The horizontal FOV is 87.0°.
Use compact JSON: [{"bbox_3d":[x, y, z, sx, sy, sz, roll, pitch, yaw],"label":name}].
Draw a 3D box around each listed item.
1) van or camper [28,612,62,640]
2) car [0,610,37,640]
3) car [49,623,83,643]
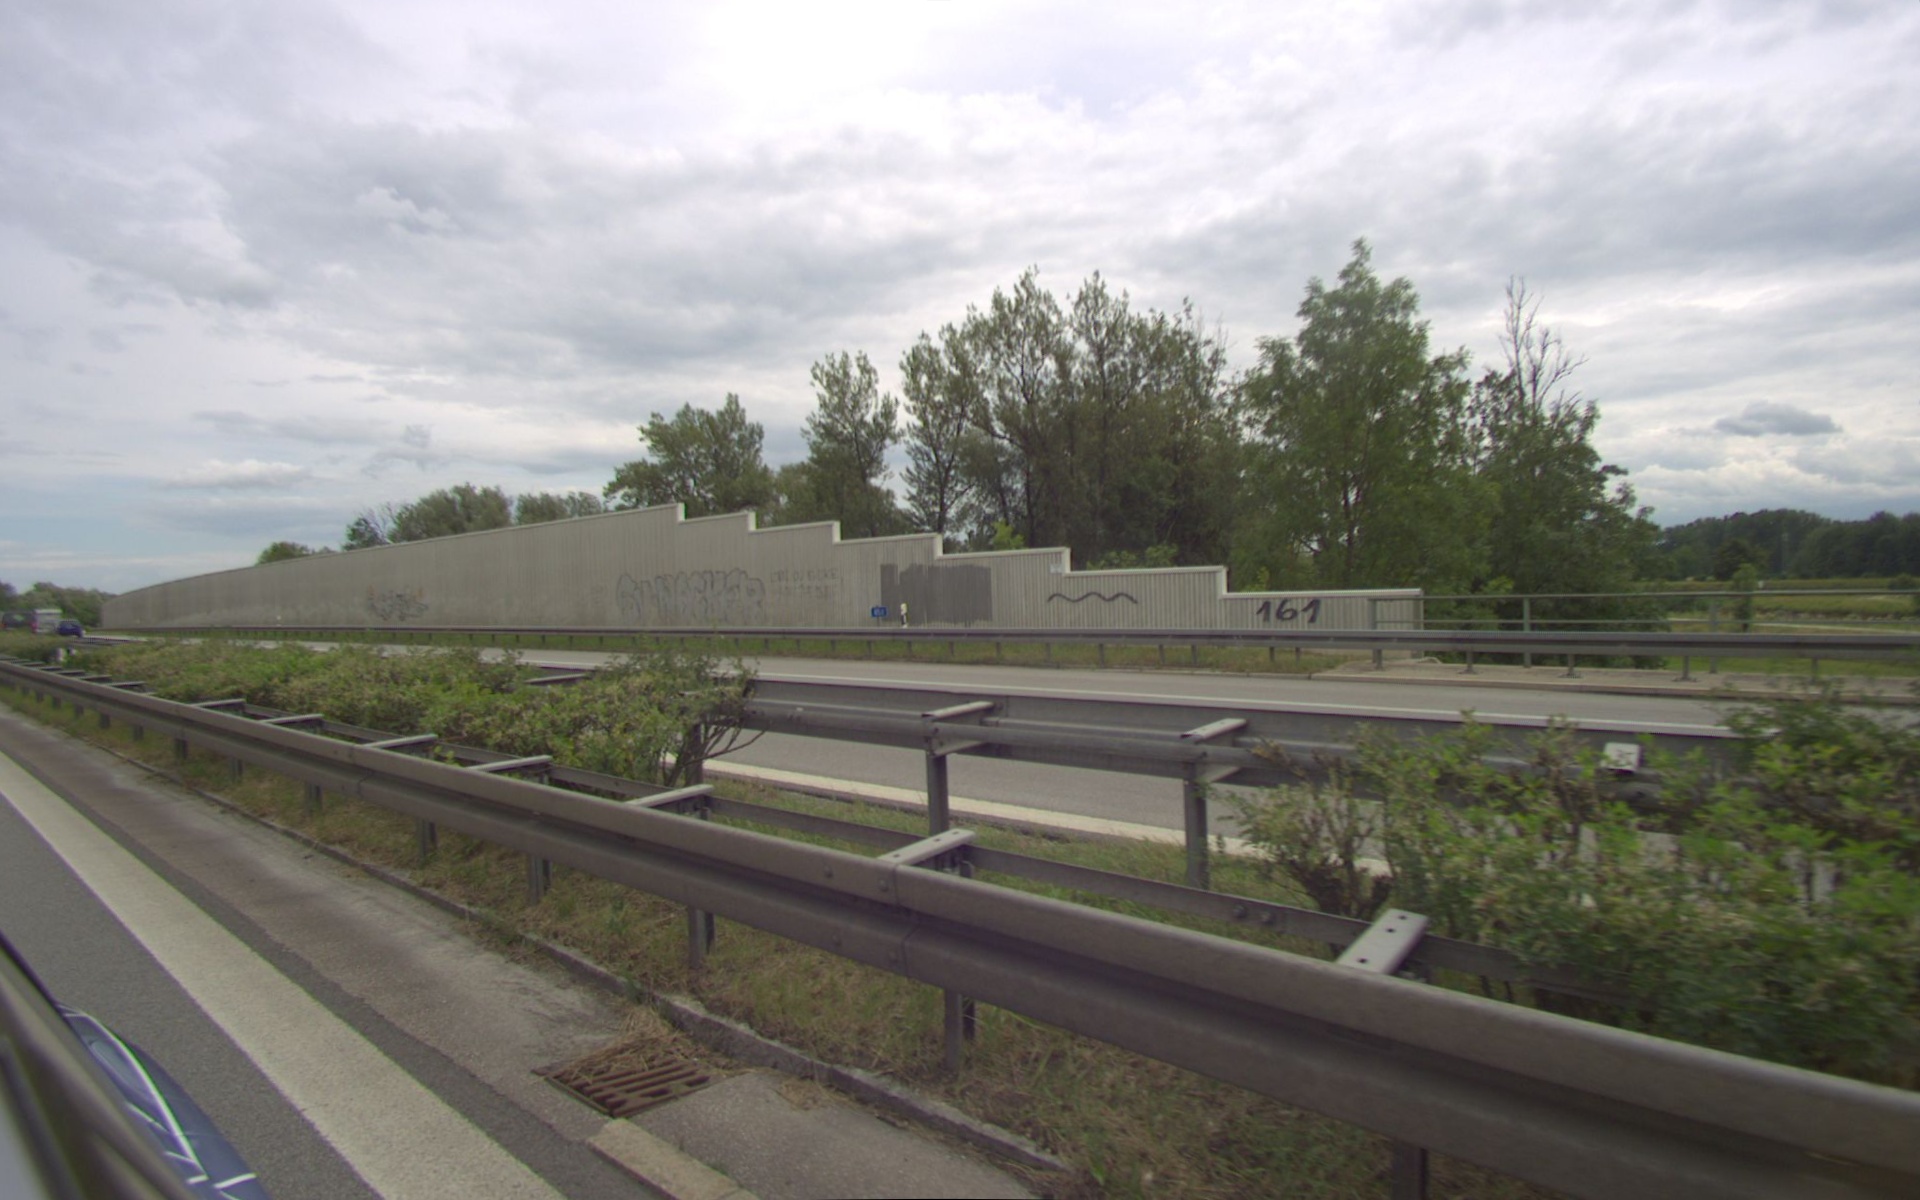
[{"bbox_3d":[-95.055,2.674,105.120,5.756,2.800,2.229,-2,-1,44],"label":"van or camper"},{"bbox_3d":[-63.320,1.685,67.636,4.554,1.900,1.972,-2,-1,42],"label":"car"},{"bbox_3d":[-72.310,2.669,81.867,4.518,1.558,1.791,-2,-1,45],"label":"car"}]
